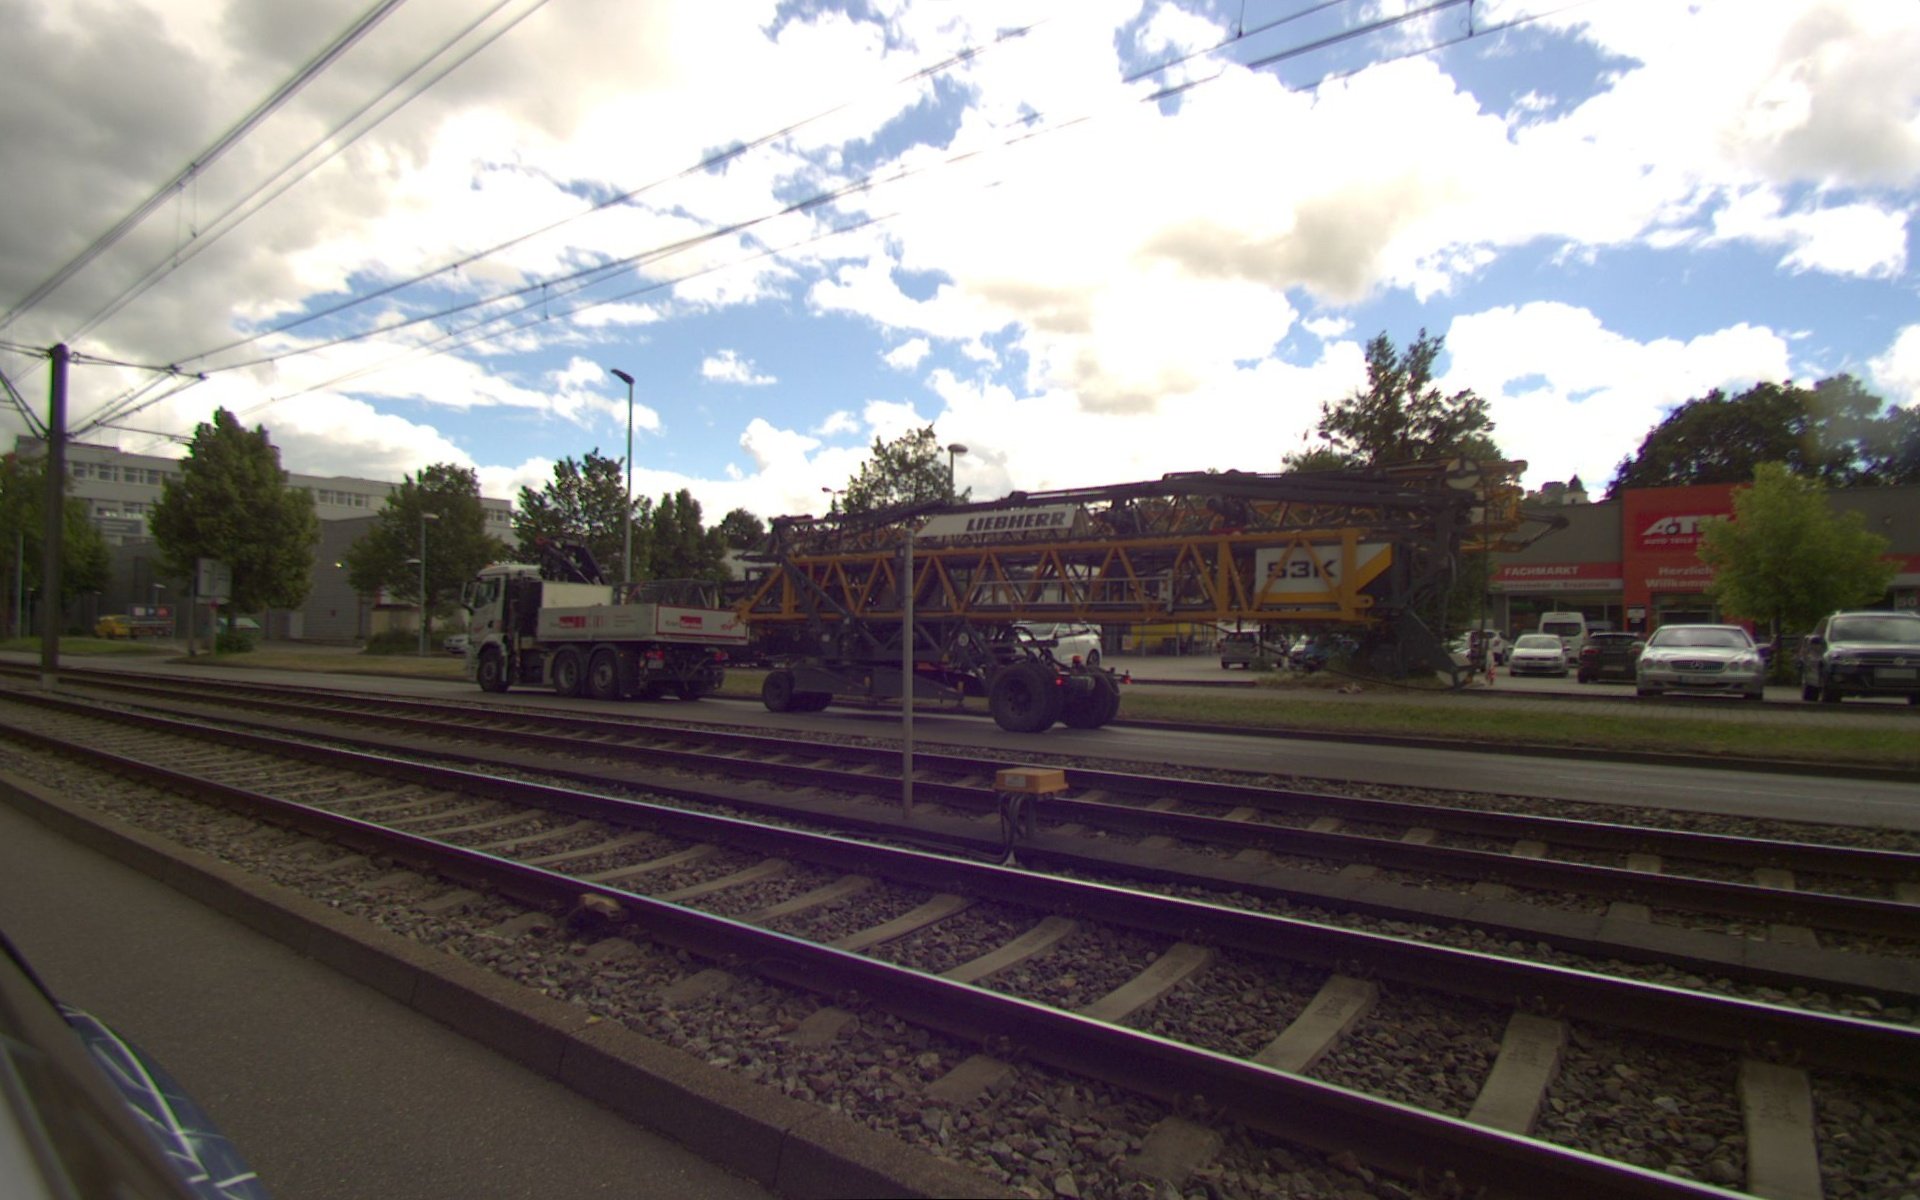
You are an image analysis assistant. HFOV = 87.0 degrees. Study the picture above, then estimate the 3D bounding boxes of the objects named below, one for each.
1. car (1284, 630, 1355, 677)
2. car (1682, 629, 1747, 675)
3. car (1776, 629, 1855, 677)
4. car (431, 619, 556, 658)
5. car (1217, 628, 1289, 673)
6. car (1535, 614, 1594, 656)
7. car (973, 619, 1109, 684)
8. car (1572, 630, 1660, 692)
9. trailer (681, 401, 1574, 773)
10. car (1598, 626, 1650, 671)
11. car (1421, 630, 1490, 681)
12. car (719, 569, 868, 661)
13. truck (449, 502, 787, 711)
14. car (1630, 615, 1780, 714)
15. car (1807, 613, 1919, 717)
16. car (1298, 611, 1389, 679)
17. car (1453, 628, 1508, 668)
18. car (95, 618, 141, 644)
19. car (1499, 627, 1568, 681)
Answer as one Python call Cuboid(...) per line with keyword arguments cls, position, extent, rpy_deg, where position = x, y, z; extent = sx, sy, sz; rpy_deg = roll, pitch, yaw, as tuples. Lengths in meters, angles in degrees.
Cuboid(cls="car", position=(14.110, 2.054, 39.601), extent=(1.719, 1.635, 3.696), rpy_deg=(-1, 0, 35))
Cuboid(cls="car", position=(30.402, 2.048, 40.849), extent=(1.916, 1.635, 3.696), rpy_deg=(-1, 0, 35))
Cuboid(cls="car", position=(32.943, 1.990, 39.056), extent=(1.916, 1.635, 3.696), rpy_deg=(-1, 0, 35))
Cuboid(cls="car", position=(-20.429, 1.662, 44.471), extent=(1.999, 1.504, 4.554), rpy_deg=(-1, 0, 40))
Cuboid(cls="car", position=(12.074, 2.024, 41.578), extent=(1.719, 1.635, 3.696), rpy_deg=(-1, 0, 35))
Cuboid(cls="car", position=(26.142, 1.468, 43.719), extent=(1.916, 1.635, 3.696), rpy_deg=(-1, 0, 35))
Cuboid(cls="car", position=(2.316, 1.353, 27.799), extent=(1.791, 1.518, 4.433), rpy_deg=(-1, 0, 34))
Cuboid(cls="car", position=(18.708, 1.680, 28.816), extent=(1.947, 1.501, 3.696), rpy_deg=(-1, 0, 35))
Cuboid(cls="trailer", position=(1.223, 0.060, 16.096), extent=(14.402, 3.927, 2.646), rpy_deg=(-1, -4, 37))
Cuboid(cls="car", position=(27.751, 1.981, 42.256), extent=(1.719, 1.635, 3.696), rpy_deg=(-1, 0, 35))
Cuboid(cls="car", position=(17.980, 1.955, 36.636), extent=(1.719, 1.635, 3.696), rpy_deg=(-1, 0, 35))
Cuboid(cls="car", position=(-5.333, 0.586, 32.967), extent=(2.285, 2.770, 4.428), rpy_deg=(-1, -4, 37))
Cuboid(cls="truck", position=(-8.000, 0.266, 23.027), extent=(8.615, 3.997, 2.865), rpy_deg=(-2, -3, 37))
Cuboid(cls="car", position=(13.642, 1.088, 18.605), extent=(1.998, 1.518, 3.951), rpy_deg=(-1, 0, 36))
Cuboid(cls="car", position=(15.970, 1.034, 17.340), extent=(1.934, 1.518, 3.951), rpy_deg=(-1, 0, 36))
Cuboid(cls="car", position=(12.688, 1.440, 33.387), extent=(1.947, 2.029, 3.696), rpy_deg=(-1, 0, 35))
Cuboid(cls="car", position=(23.577, 2.131, 45.792), extent=(1.719, 1.635, 3.696), rpy_deg=(-1, 0, 35))
Cuboid(cls="car", position=(-69.470, 2.557, 83.511), extent=(3.992, 2.029, 1.975), rpy_deg=(-1, -3, 36))
Cuboid(cls="car", position=(19.808, 1.823, 34.883), extent=(1.719, 1.635, 3.696), rpy_deg=(-1, 0, 35))
